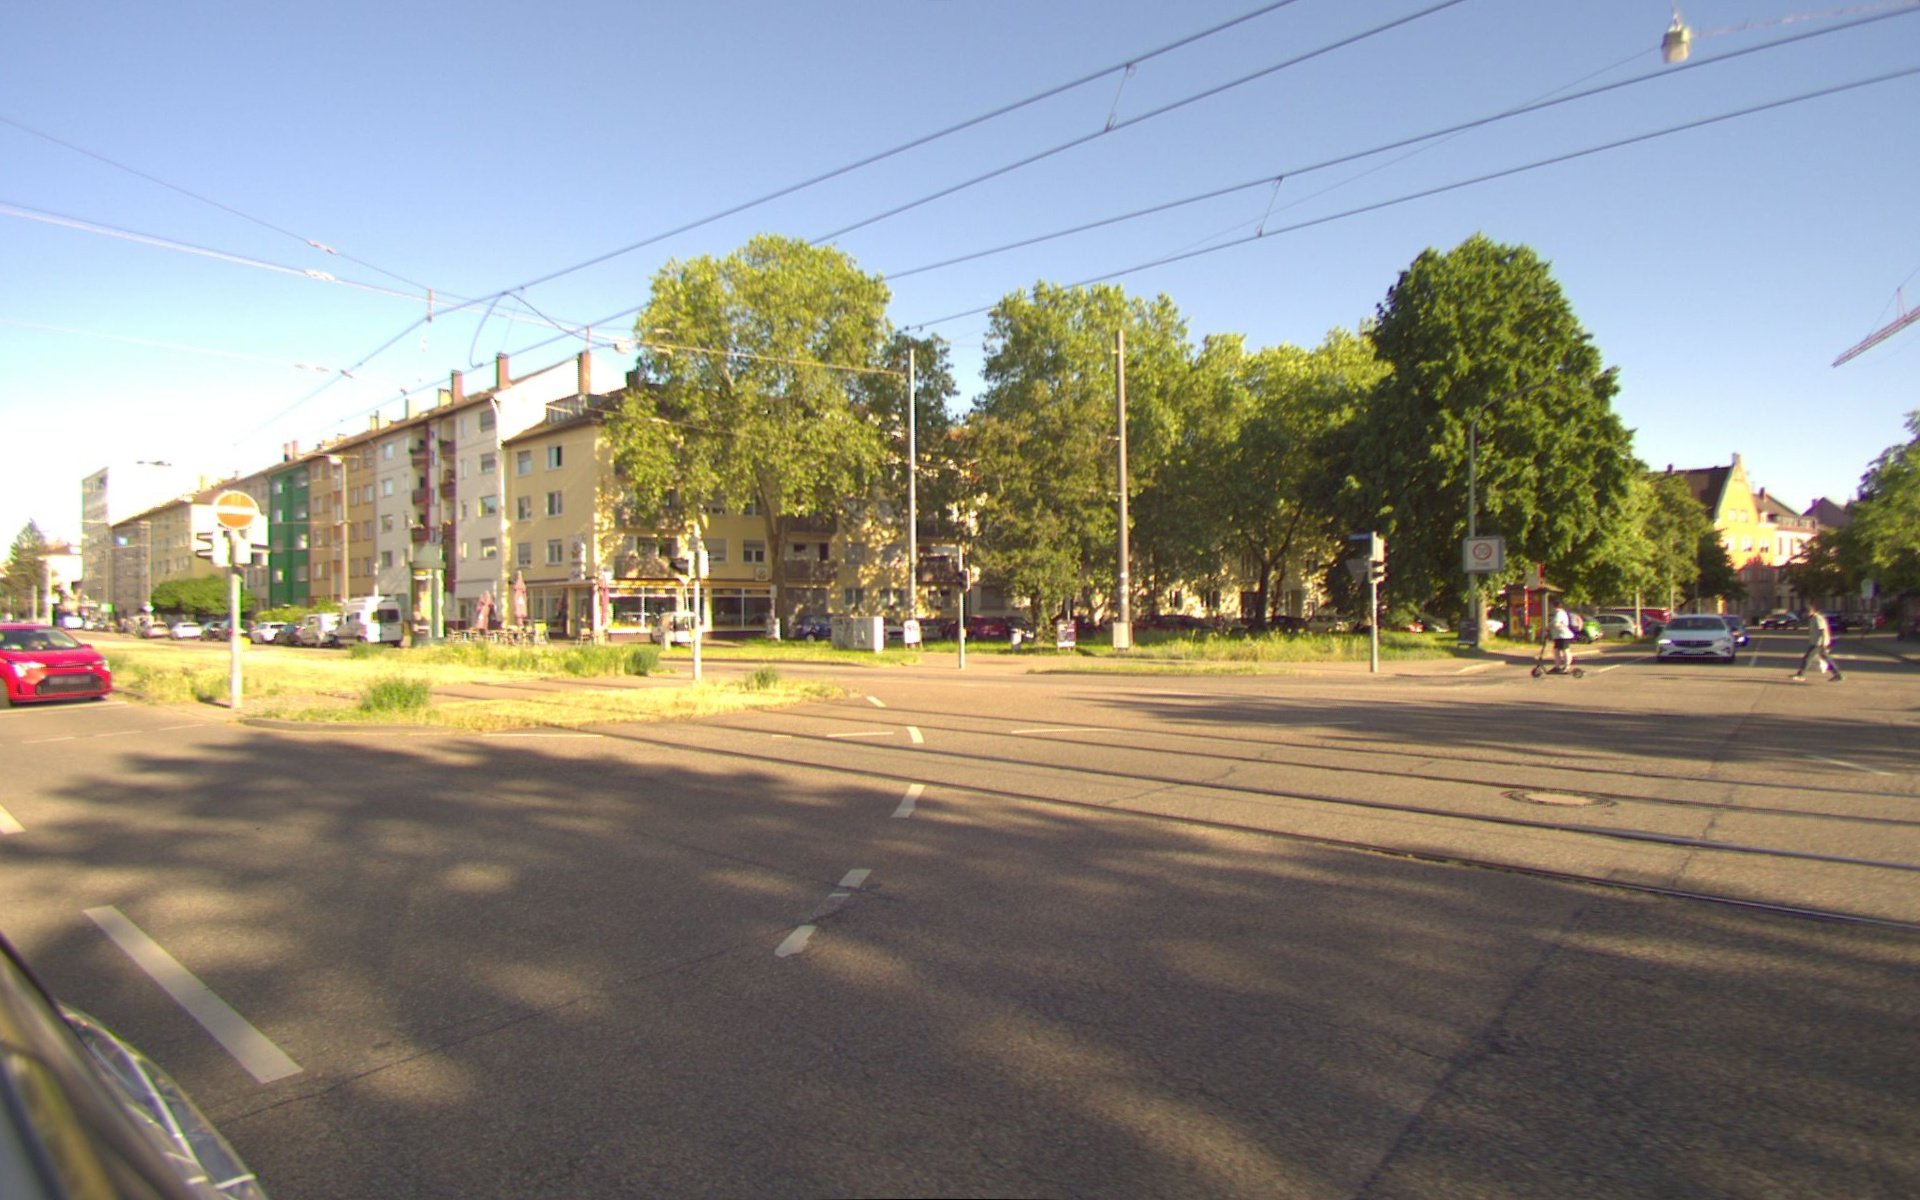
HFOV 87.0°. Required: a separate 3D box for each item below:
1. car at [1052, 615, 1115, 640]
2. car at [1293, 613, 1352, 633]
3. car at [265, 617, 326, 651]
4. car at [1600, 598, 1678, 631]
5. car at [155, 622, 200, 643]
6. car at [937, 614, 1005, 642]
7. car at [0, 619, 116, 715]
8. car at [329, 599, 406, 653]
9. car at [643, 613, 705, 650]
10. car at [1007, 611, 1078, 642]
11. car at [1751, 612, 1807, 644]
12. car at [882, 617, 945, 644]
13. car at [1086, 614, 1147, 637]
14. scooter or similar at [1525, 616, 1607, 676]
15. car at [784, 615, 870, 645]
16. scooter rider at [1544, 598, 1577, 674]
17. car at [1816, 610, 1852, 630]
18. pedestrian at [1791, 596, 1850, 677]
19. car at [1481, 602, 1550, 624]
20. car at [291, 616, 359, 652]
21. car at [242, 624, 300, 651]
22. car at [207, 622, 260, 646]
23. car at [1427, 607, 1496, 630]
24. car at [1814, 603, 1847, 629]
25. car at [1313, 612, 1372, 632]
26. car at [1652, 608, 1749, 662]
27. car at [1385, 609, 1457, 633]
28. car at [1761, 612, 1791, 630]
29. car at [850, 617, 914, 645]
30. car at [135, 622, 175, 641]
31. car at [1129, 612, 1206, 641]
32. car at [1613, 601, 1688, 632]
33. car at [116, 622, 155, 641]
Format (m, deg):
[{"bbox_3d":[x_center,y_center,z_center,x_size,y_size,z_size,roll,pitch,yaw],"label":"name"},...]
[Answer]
[{"bbox_3d":[8.258,1.823,67.850,1.967,1.564,3.943,0,-1,-37],"label":"car"},{"bbox_3d":[28.630,1.802,80.087,1.967,1.564,3.943,0,-1,-37],"label":"car"},{"bbox_3d":[-42.674,2.168,64.995,4.863,2.049,2.116,-1,-1,42],"label":"car"},{"bbox_3d":[44.153,0.948,65.803,3.998,2.029,1.973,-1,0,41],"label":"car"},{"bbox_3d":[-66.161,2.738,85.516,5.444,1.720,2.116,-1,-1,42],"label":"car"},{"bbox_3d":[0.517,1.381,51.075,1.616,1.318,4.012,0,-1,-31],"label":"car"},{"bbox_3d":[-17.351,1.163,18.398,3.577,1.542,1.533,-1,1,21],"label":"car"},{"bbox_3d":[-33.004,1.416,56.313,5.227,2.846,2.201,-1,-1,42],"label":"car"},{"bbox_3d":[-15.449,1.686,54.599,1.881,1.896,4.009,0,-1,-37],"label":"car"},{"bbox_3d":[4.793,1.515,59.237,1.967,1.718,3.943,0,-1,-37],"label":"car"},{"bbox_3d":[41.219,1.384,50.918,1.999,1.473,4.467,-1,-1,41],"label":"car"},{"bbox_3d":[-2.889,1.814,61.700,1.967,1.564,3.943,0,-1,-37],"label":"car"},{"bbox_3d":[10.878,1.762,70.638,1.967,1.564,3.943,0,-1,-37],"label":"car"},{"bbox_3d":[13.764,1.033,22.999,1.538,1.319,0.591,-1,-1,37],"label":"scooter or similar"},{"bbox_3d":[-6.673,1.465,50.661,3.930,1.448,1.723,0,-1,-26],"label":"car"},{"bbox_3d":[13.685,0.809,23.057,0.572,1.708,0.589,-1,-1,36],"label":"scooter rider"},{"bbox_3d":[66.459,1.522,76.962,1.999,1.473,4.467,-1,-1,41],"label":"car"},{"bbox_3d":[18.565,0.784,21.852,0.878,1.708,0.589,-1,-1,36],"label":"pedestrian"},{"bbox_3d":[40.127,0.931,73.157,1.966,1.564,3.946,0,-1,-30],"label":"car"},{"bbox_3d":[-38.318,2.015,61.009,5.156,2.049,2.116,-1,-1,42],"label":"car"},{"bbox_3d":[-46.948,2.503,68.895,5.156,1.720,2.116,-1,-1,42],"label":"car"},{"bbox_3d":[-54.340,2.488,75.635,5.444,1.720,2.116,-1,-1,42],"label":"car"},{"bbox_3d":[35.565,1.280,71.853,1.967,1.564,3.943,0,-1,-37],"label":"car"},{"bbox_3d":[72.856,1.329,84.671,1.999,2.045,4.467,-1,-1,41],"label":"car"},{"bbox_3d":[30.660,1.755,81.178,1.967,1.564,3.943,0,-1,-37],"label":"car"},{"bbox_3d":[22.575,1.011,30.776,1.999,1.497,4.467,-1,-1,41],"label":"car"},{"bbox_3d":[30.899,1.390,67.863,1.967,1.564,3.943,0,-1,-37],"label":"car"},{"bbox_3d":[75.616,1.960,93.763,1.999,1.567,4.467,-2,-2,41],"label":"car"},{"bbox_3d":[-4.693,1.811,60.368,1.967,1.564,3.943,0,-1,-37],"label":"car"},{"bbox_3d":[-75.490,2.935,94.892,5.401,1.720,2.116,-1,-1,42],"label":"car"},{"bbox_3d":[11.637,1.466,56.994,1.967,1.564,3.943,0,-1,-37],"label":"car"},{"bbox_3d":[47.206,1.110,69.227,3.998,2.029,1.973,-1,0,41],"label":"car"},{"bbox_3d":[-80.637,3.045,98.928,5.401,1.720,2.116,-1,-1,42],"label":"car"}]
